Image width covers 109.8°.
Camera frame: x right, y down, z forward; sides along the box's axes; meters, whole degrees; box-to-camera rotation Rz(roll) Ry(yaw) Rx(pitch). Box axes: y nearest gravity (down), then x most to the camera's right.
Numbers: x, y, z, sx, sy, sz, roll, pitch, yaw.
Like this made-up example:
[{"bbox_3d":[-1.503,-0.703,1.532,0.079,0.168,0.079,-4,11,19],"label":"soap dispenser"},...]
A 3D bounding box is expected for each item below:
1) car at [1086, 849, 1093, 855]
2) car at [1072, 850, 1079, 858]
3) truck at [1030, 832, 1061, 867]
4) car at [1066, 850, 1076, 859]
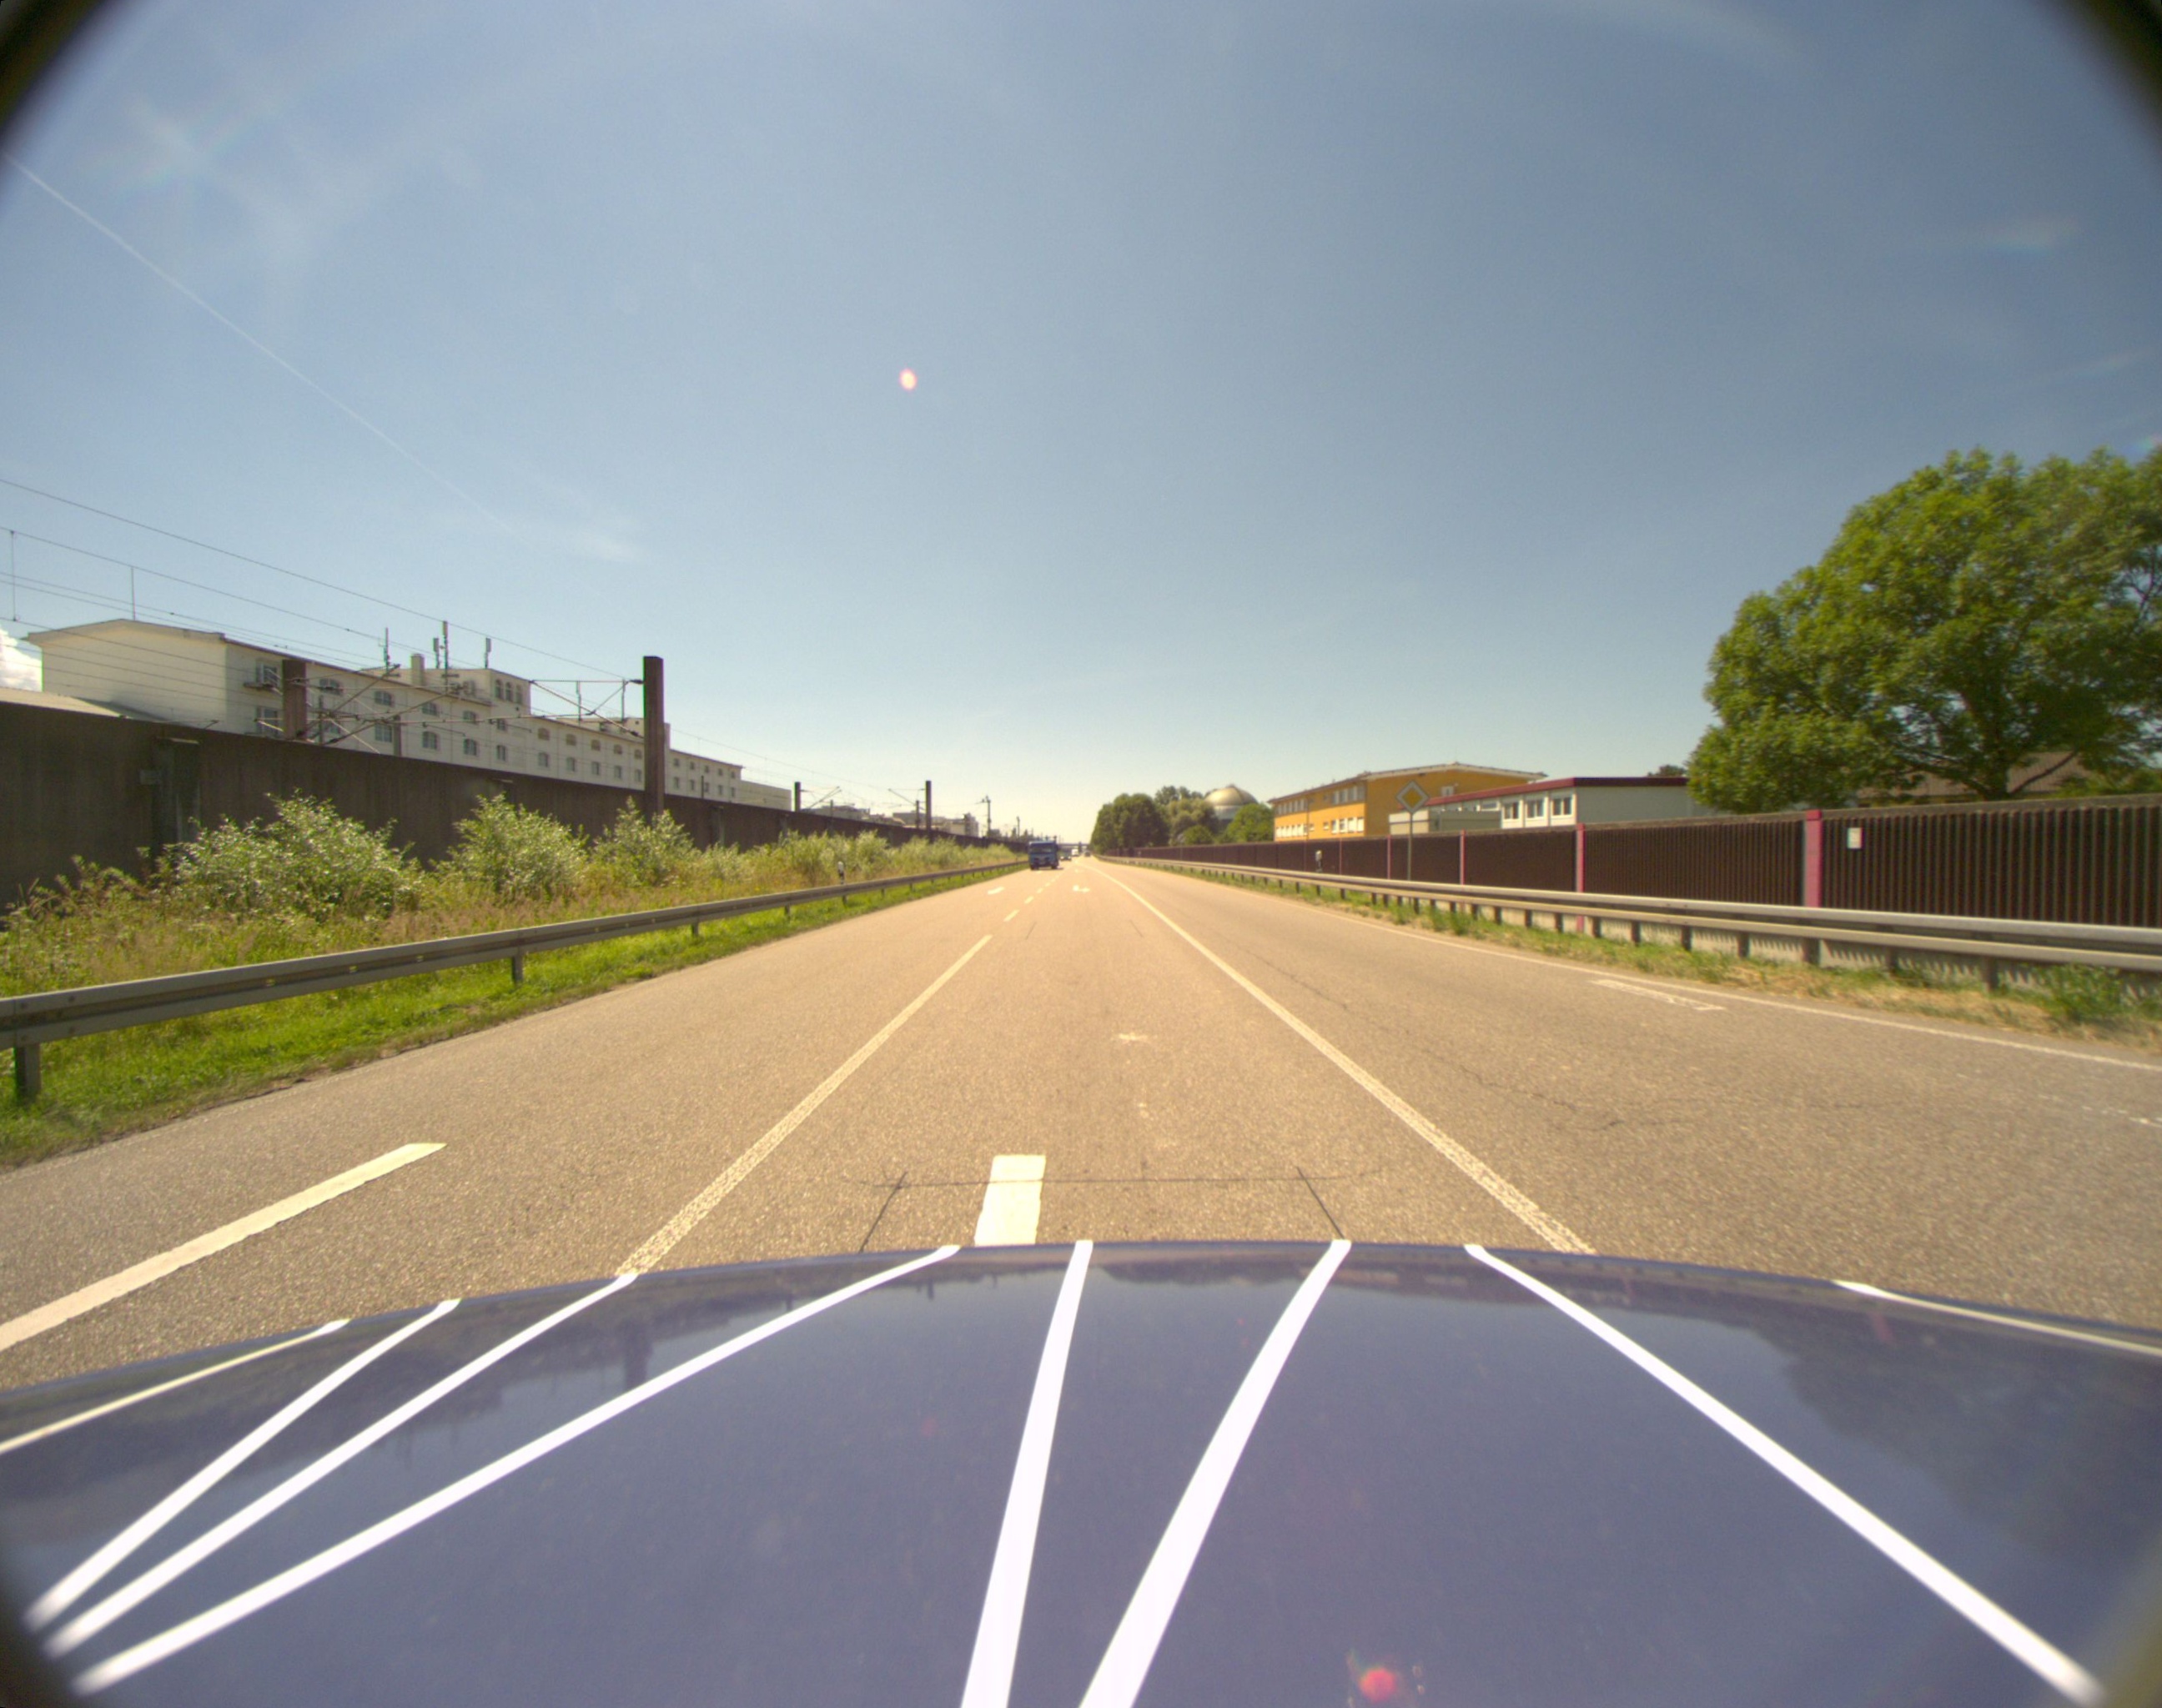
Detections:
[{"bbox_3d":[2.429,-0.643,217.534,1.892,1.730,4.776,0,1,0],"label":"car"},{"bbox_3d":[-1.790,-0.057,253.707,2.205,2.545,5.223,-1,1,0],"label":"car"},{"bbox_3d":[-3.250,-0.439,71.747,2.617,3.024,10.653,-1,1,-1],"label":"truck"},{"bbox_3d":[-1.873,0.075,136.548,1.730,1.465,3.888,-1,1,-1],"label":"car"}]
